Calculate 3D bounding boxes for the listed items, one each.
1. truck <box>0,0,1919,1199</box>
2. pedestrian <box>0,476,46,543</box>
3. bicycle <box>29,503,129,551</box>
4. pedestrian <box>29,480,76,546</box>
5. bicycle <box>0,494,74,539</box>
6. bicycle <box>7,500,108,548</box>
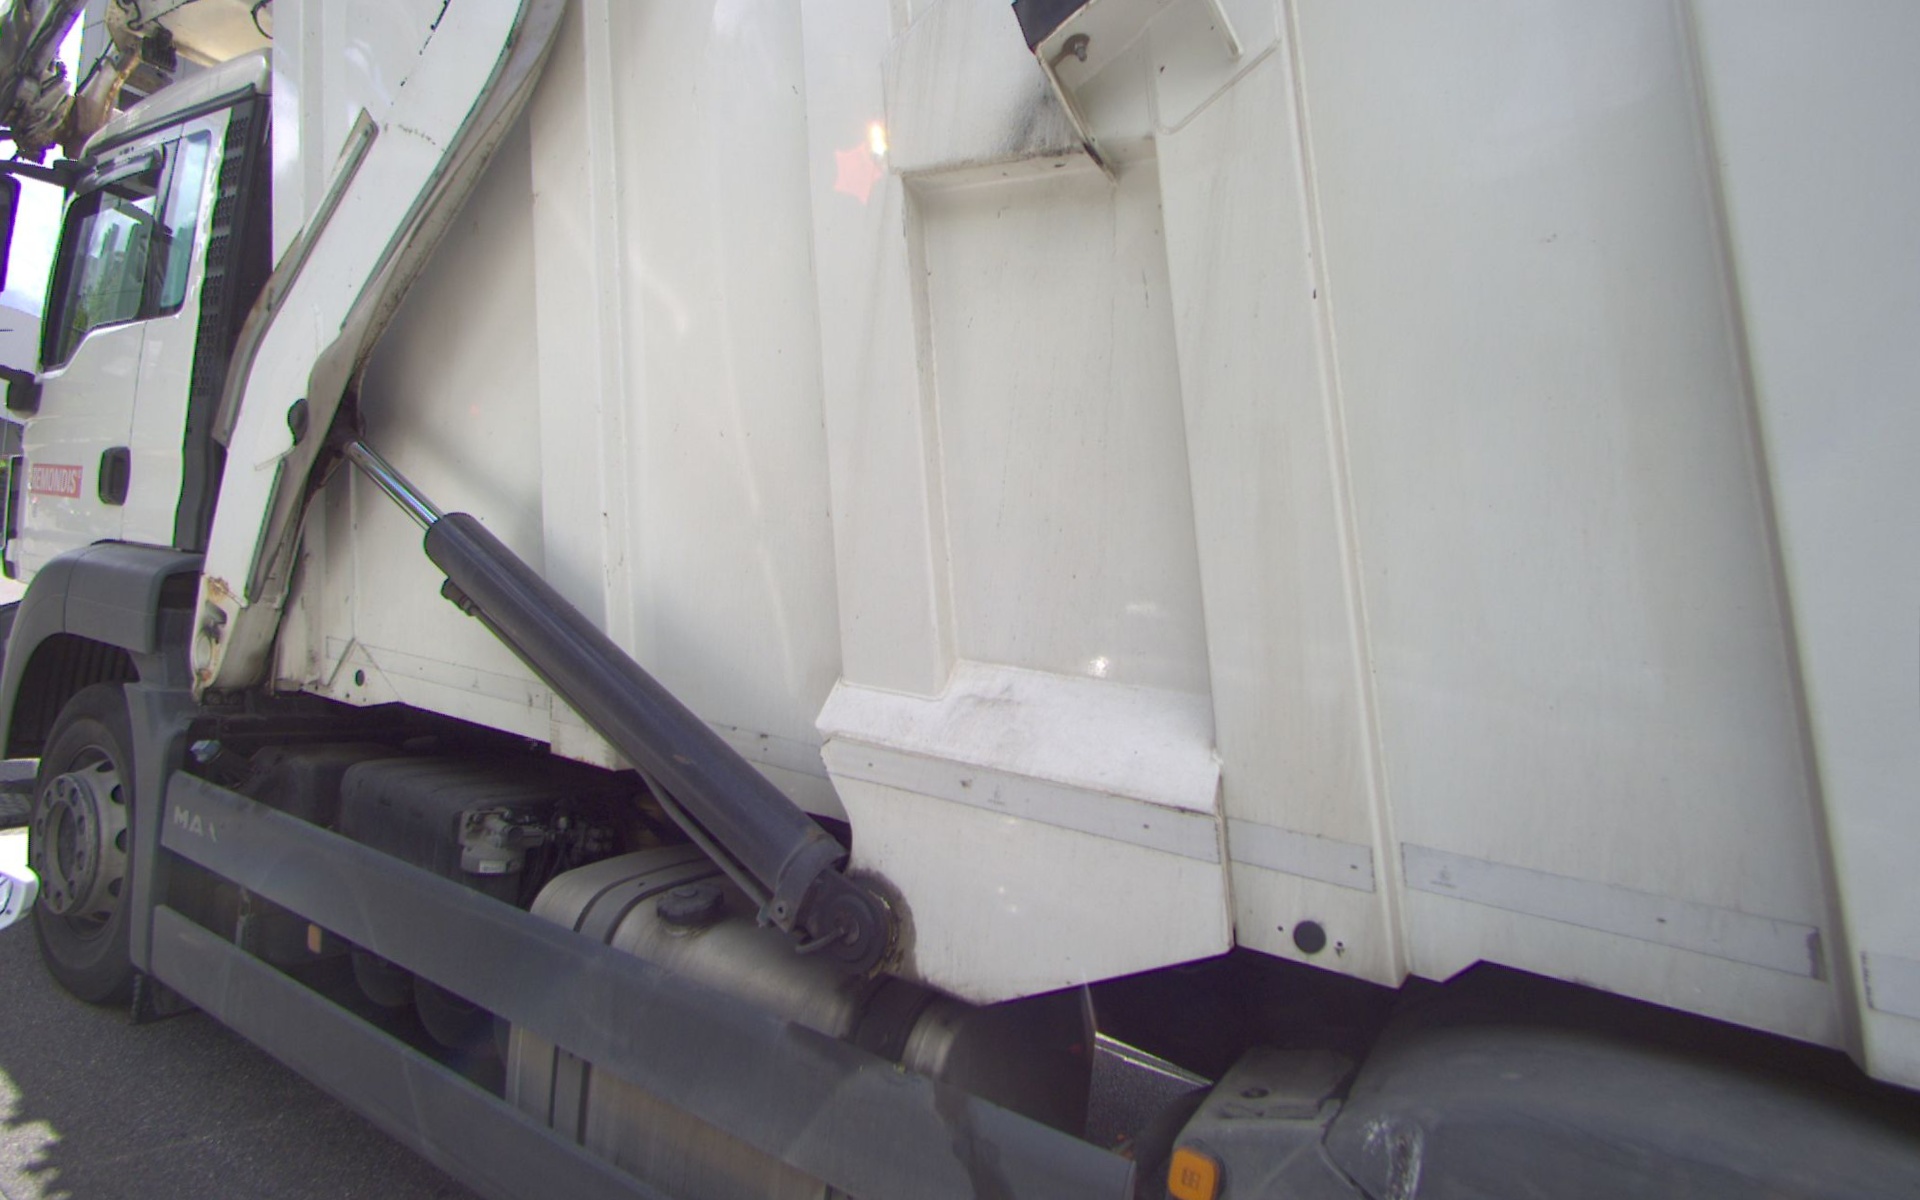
[{"bbox_3d":[1.118,-0.411,2.185,10.003,3.958,2.494,6,-1,31],"label":"truck"},{"bbox_3d":[-27.058,-2.594,29.042,0.698,1.818,0.642,7,3,16],"label":"pedestrian"},{"bbox_3d":[-27.114,-2.234,31.006,2.166,1.099,0.474,8,-1,-23],"label":"bicycle"},{"bbox_3d":[-26.815,-2.565,29.724,0.698,1.818,0.693,7,3,16],"label":"pedestrian"},{"bbox_3d":[-29.303,-2.646,31.496,2.197,1.099,0.474,8,-1,-23],"label":"bicycle"},{"bbox_3d":[-27.967,-2.339,31.211,2.197,1.099,0.474,8,-1,-23],"label":"bicycle"}]
